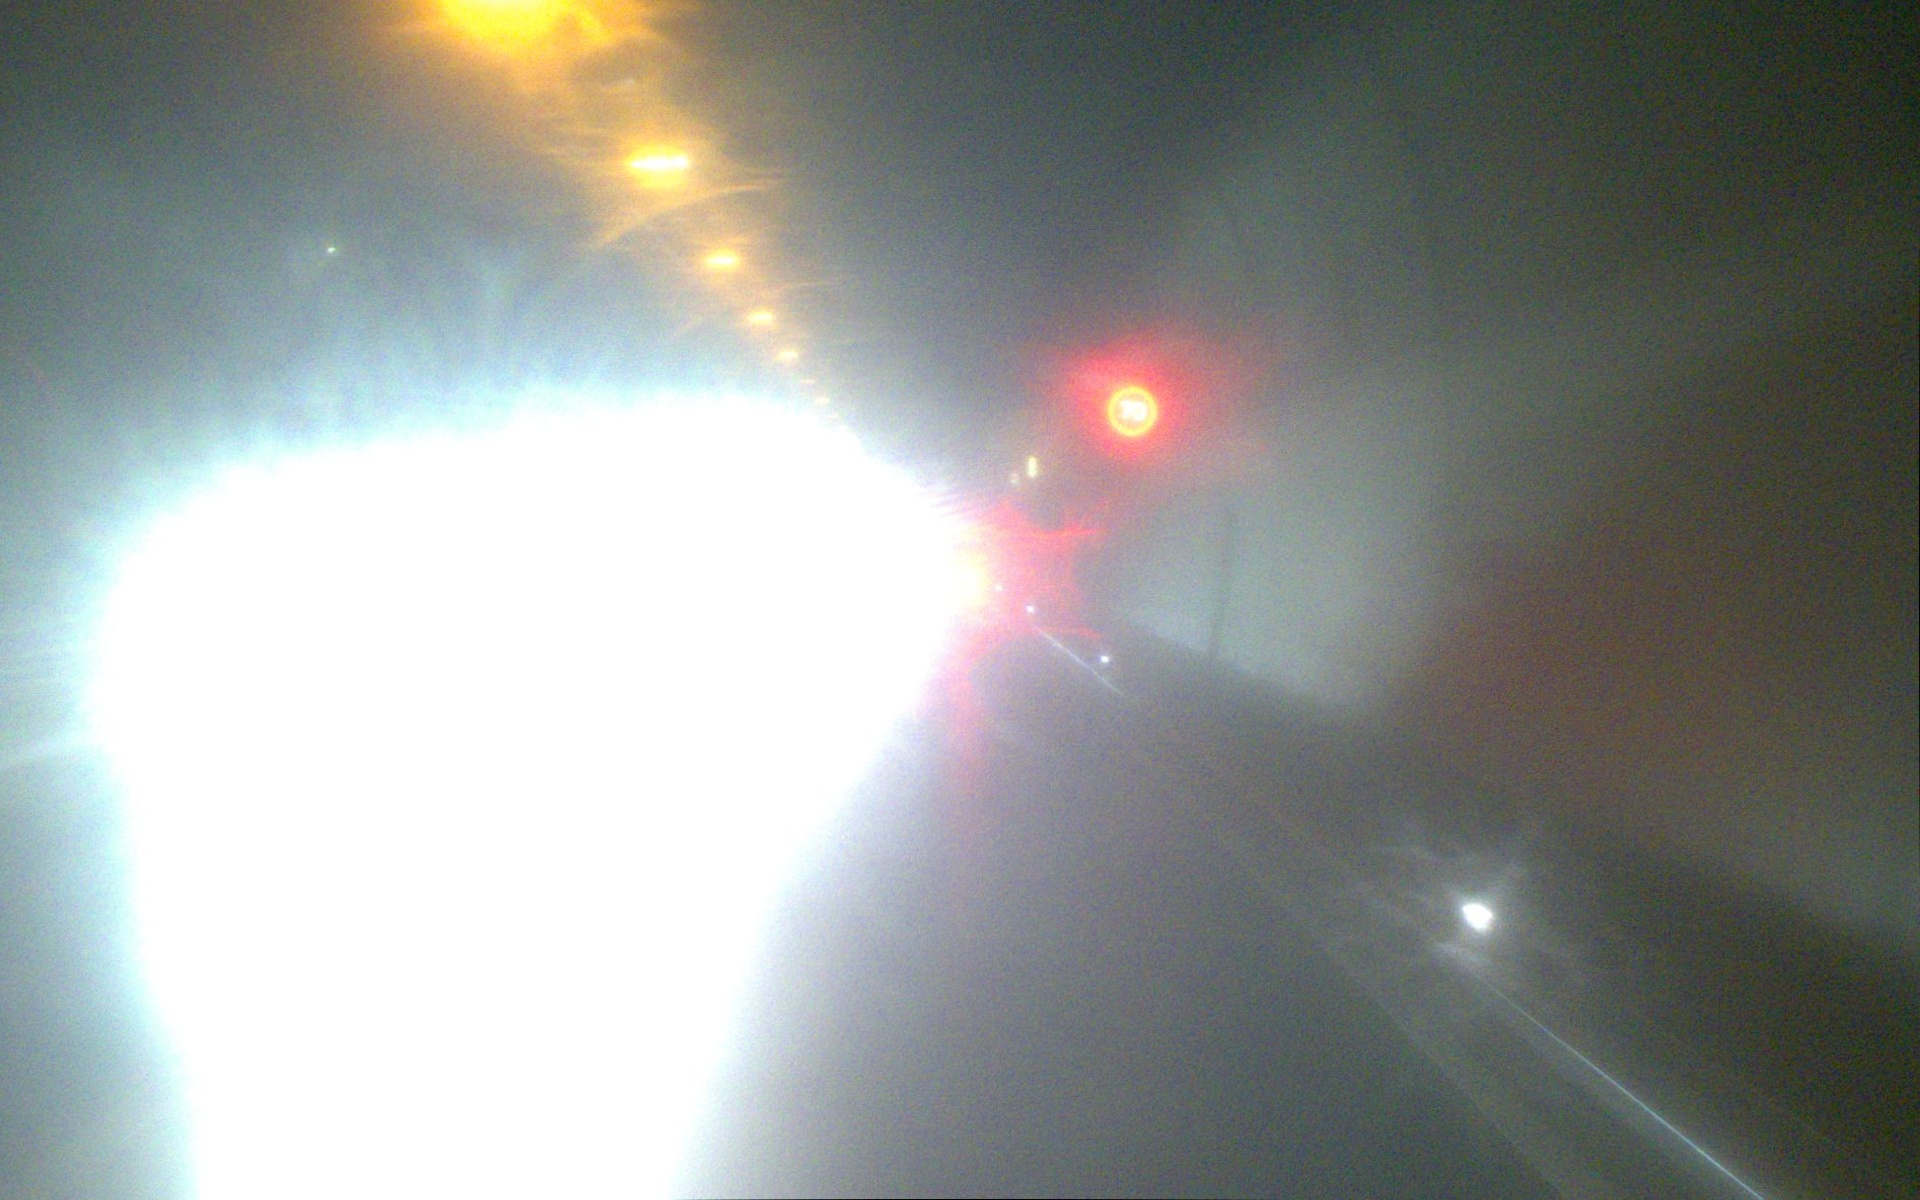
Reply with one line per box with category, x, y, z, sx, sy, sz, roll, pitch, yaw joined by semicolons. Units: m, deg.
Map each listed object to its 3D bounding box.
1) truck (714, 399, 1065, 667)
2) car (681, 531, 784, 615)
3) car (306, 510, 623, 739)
truck;-0.742;-0.762;39.180;3.535;2.684;8.956;0;1;0
car;-4.435;-0.546;67.352;1.756;1.523;3.815;2;1;-1
car;-3.405;0.113;24.251;1.794;1.477;3.869;0;1;-2
